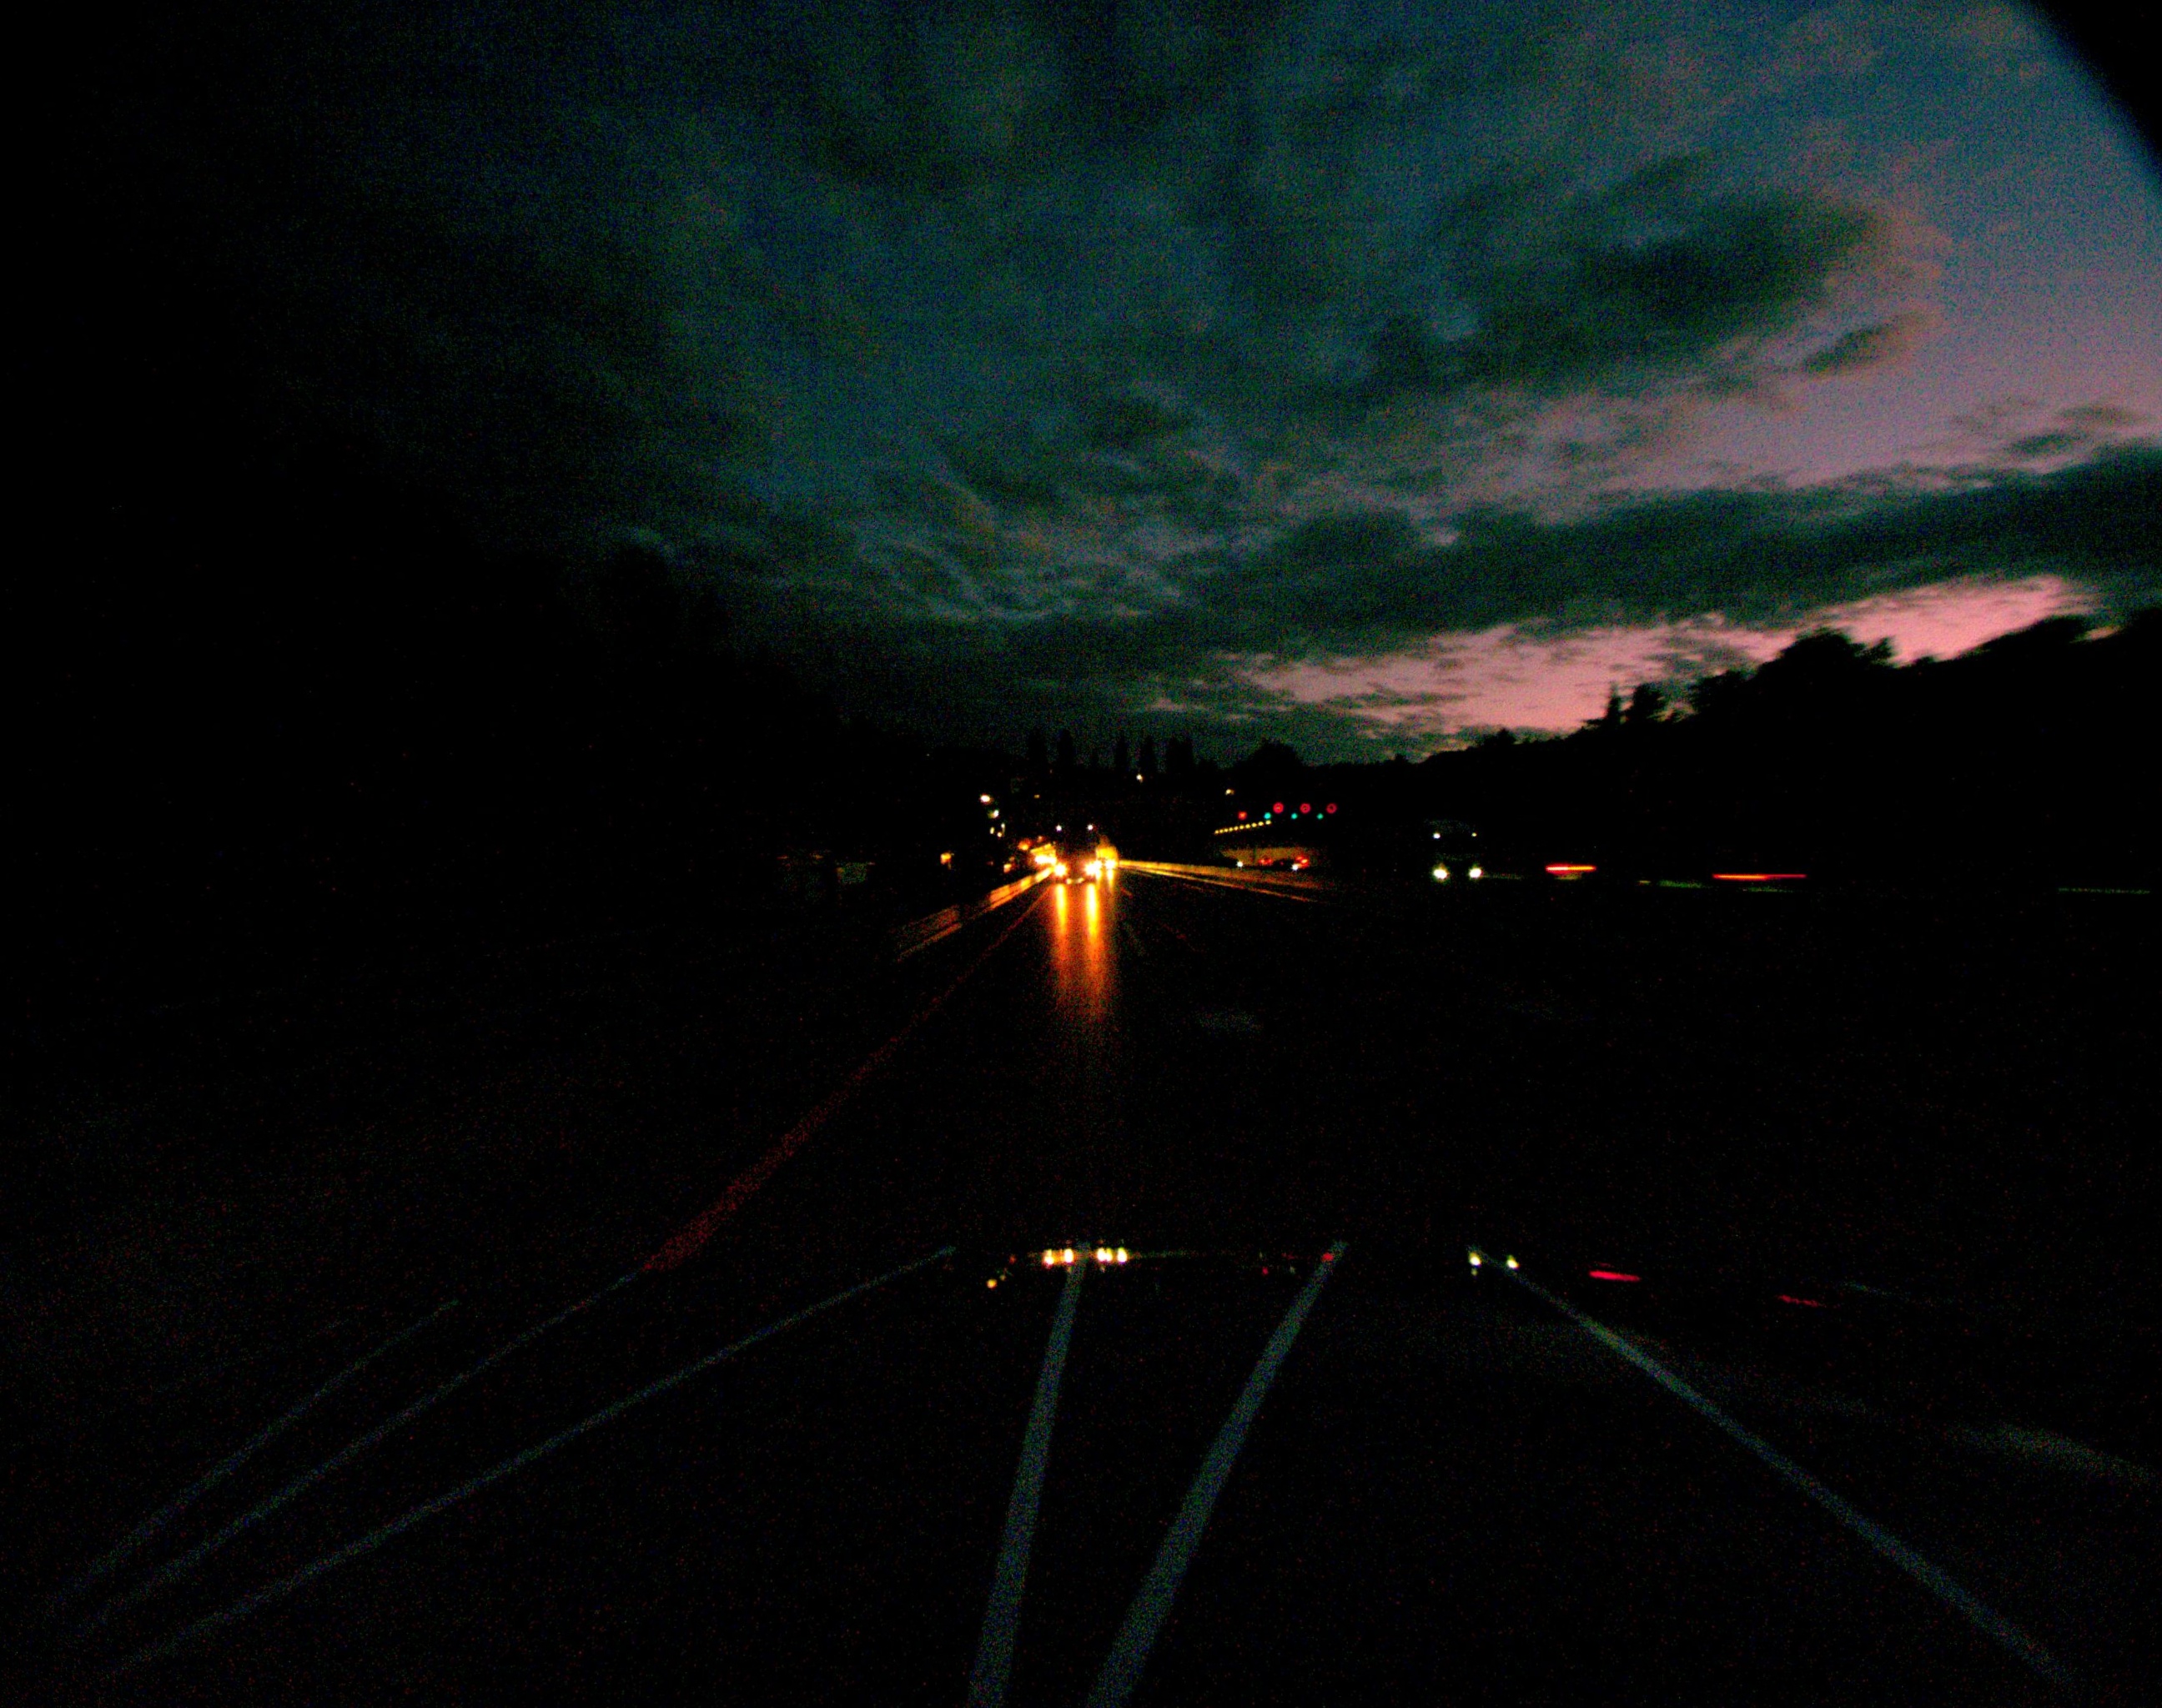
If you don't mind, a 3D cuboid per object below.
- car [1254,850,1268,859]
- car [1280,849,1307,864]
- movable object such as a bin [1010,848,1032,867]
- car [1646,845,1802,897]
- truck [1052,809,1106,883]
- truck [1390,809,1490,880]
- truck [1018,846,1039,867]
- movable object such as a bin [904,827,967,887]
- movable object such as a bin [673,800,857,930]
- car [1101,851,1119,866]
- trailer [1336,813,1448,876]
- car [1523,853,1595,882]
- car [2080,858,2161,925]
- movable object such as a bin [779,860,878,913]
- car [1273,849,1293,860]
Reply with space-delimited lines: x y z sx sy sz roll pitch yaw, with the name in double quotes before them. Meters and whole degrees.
"car" 31.718 0.109 133.731 1.580 1.461 4.095 -3 1 2
"car" 25.441 0.296 91.278 1.811 1.579 4.876 -3 1 0
"movable object such as a bin" -9.219 0.507 117.560 2.978 2.811 7.194 -3 1 -2
"car" 24.005 0.555 28.649 1.905 1.728 4.808 -3 1 2
"truck" -0.068 -0.514 50.340 2.954 4.241 11.051 -3 1 0
"truck" 20.888 -0.544 44.695 2.810 3.753 6.301 -3 1 0
"truck" -8.816 0.316 128.768 2.825 3.267 8.351 -3 1 0
"movable object such as a bin" -8.379 0.122 44.399 2.570 3.299 5.578 0 1 0
"movable object such as a bin" -8.408 0.234 21.090 2.627 3.090 5.805 -1 1 0
"car" 3.264 0.485 85.499 1.662 1.586 3.997 -3 1 5
"trailer" 20.960 -0.654 52.328 2.806 3.761 11.833 -3 1 0
"car" 27.840 0.725 44.424 1.668 1.499 4.178 -3 1 2
"car" 26.321 0.905 17.009 1.815 1.476 4.701 -3 1 2
"movable object such as a bin" -8.524 1.047 26.065 1.998 1.592 4.084 0 1 1
"car" 28.817 0.001 108.519 1.676 1.461 4.647 -3 1 2
